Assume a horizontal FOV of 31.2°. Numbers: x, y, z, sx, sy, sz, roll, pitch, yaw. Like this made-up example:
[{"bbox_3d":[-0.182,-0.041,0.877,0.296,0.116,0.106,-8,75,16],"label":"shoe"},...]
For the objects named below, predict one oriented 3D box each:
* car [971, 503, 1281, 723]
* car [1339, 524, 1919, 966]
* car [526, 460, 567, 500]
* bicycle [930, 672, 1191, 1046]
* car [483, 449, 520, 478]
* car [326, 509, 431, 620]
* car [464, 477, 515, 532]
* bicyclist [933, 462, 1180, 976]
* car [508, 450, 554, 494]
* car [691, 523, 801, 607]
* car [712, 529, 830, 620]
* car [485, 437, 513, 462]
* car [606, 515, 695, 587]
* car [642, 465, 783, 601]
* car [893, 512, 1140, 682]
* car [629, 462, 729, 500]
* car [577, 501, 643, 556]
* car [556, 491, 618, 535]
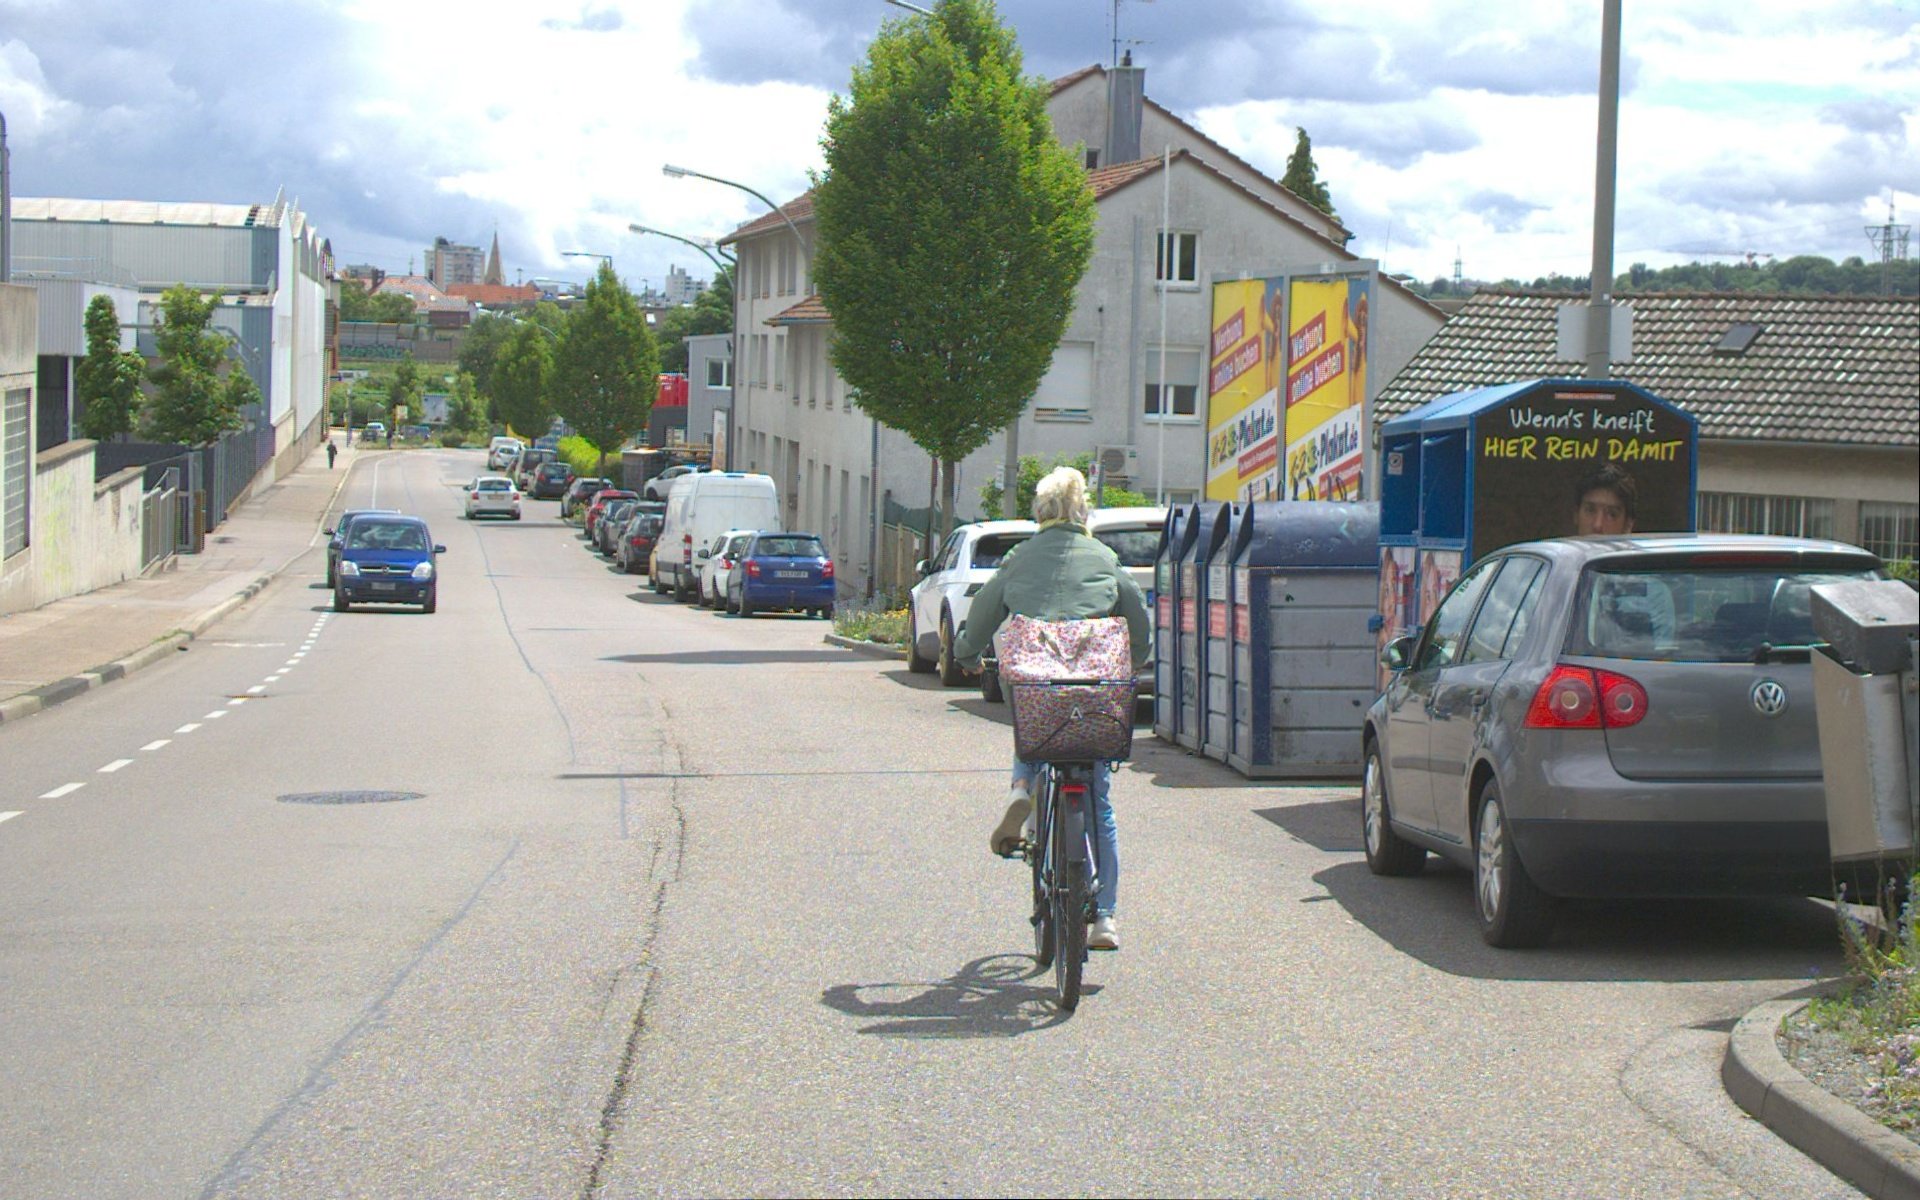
[{"bbox_3d":[1.267,0.069,28.198,1.685,1.653,4.481,0,1,-8],"label":"car"},{"bbox_3d":[2.620,0.458,13.622,1.655,1.480,4.045,0,1,-2],"label":"car"},{"bbox_3d":[-17.702,-5.142,147.113,1.679,1.632,4.124,1,2,-8],"label":"car"},{"bbox_3d":[0.295,0.804,11.268,0.740,0.972,1.733,2,3,-1],"label":"bicycle"},{"bbox_3d":[-27.390,-8.161,205.365,1.700,1.522,3.739,4,2,-13],"label":"car"},{"bbox_3d":[-9.834,-0.601,57.982,1.626,1.811,3.781,0,1,-11],"label":"car"},{"bbox_3d":[-16.081,-3.245,117.430,1.566,1.780,3.606,1,1,-10],"label":"car"},{"bbox_3d":[0.304,0.376,11.301,0.739,1.621,0.731,1,1,-1],"label":"bicyclist"},{"bbox_3d":[-20.205,-6.043,161.682,1.868,1.983,5.146,1,2,-10],"label":"car"},{"bbox_3d":[-4.087,-0.674,65.157,1.592,1.505,3.791,1,1,-11],"label":"car"},{"bbox_3d":[-3.351,-0.466,60.387,1.566,1.505,4.095,1,1,-10],"label":"car"},{"bbox_3d":[-28.973,-9.443,215.854,1.701,1.522,3.739,2,2,-8],"label":"car"},{"bbox_3d":[-7.894,-1.263,87.310,1.704,1.504,5.089,3,3,-10],"label":"car"},{"bbox_3d":[-5.195,-1.371,71.204,2.032,2.632,7.285,1,1,-11],"label":"car"},{"bbox_3d":[0.485,-0.059,34.130,1.841,1.560,4.467,-1,1,-7],"label":"car"},{"bbox_3d":[-11.564,-4.894,141.436,4.072,1.457,1.721,1,4,42],"label":"car"},{"bbox_3d":[-10.693,-2.204,104.955,1.734,1.467,4.263,2,3,-9],"label":"car"},{"bbox_3d":[-13.129,-3.074,120.861,1.790,1.460,4.710,1,2,-11],"label":"car"}]
